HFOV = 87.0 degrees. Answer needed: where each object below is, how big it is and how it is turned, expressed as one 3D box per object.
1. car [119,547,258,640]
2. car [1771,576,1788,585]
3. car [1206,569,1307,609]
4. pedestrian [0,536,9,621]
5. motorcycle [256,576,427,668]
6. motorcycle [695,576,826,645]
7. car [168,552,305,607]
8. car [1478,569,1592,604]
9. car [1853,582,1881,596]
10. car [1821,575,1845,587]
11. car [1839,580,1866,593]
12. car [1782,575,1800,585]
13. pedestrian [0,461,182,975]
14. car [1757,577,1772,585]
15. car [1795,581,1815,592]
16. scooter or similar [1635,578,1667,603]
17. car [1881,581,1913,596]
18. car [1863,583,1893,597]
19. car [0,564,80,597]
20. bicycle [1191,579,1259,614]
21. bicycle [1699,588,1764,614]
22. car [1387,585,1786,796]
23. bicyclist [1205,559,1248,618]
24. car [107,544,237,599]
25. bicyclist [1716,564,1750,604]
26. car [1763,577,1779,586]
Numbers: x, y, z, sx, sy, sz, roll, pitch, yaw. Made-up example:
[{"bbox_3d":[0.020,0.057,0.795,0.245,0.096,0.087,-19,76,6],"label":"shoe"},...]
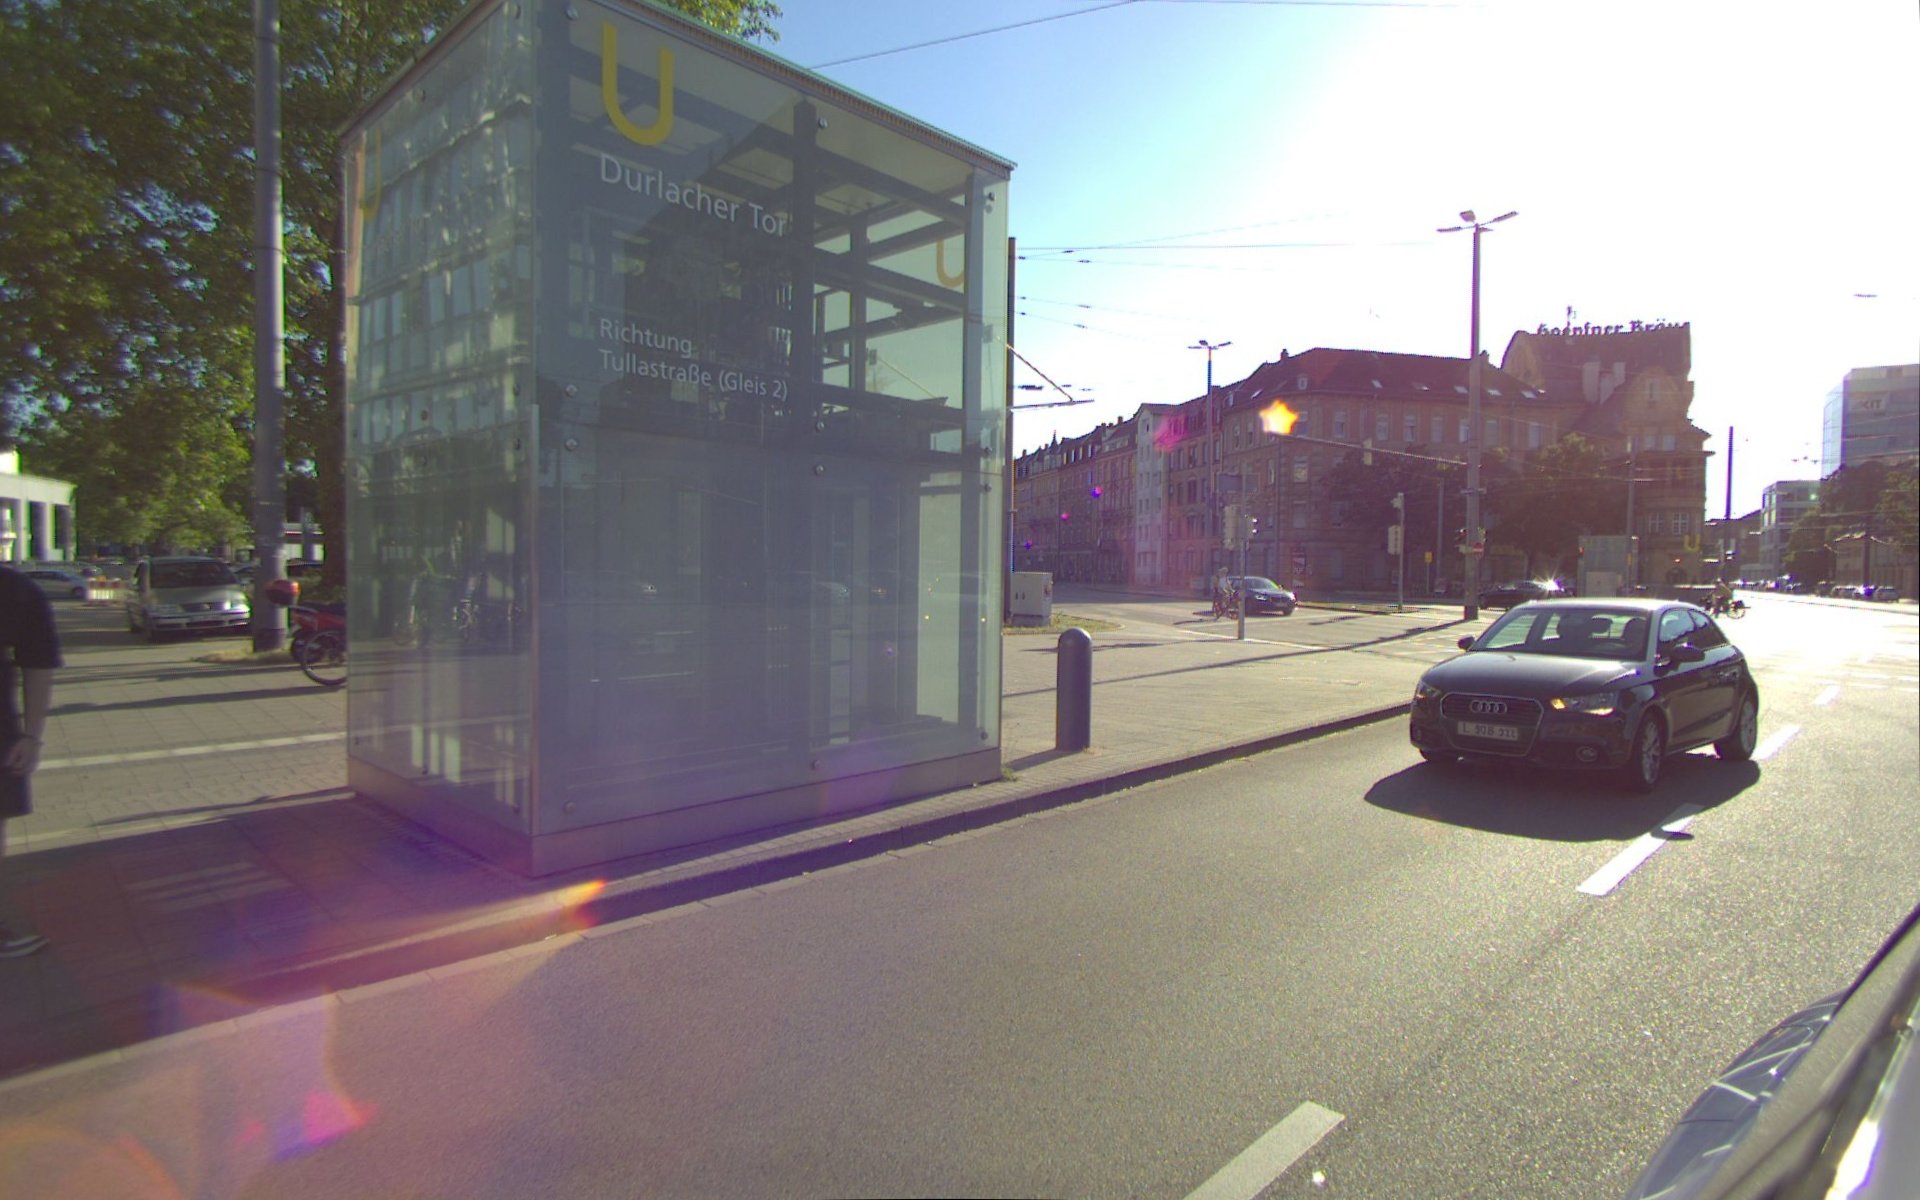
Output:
[{"bbox_3d":[-16.698,-0.236,21.825,1.891,1.718,3.991,-4,6,-44],"label":"car"},{"bbox_3d":[141.307,-3.321,174.463,1.743,1.482,3.972,1,0,32],"label":"car"},{"bbox_3d":[11.568,-0.462,39.779,1.958,1.471,4.010,0,2,-15],"label":"car"},{"bbox_3d":[-21.832,-0.495,22.654,0.740,1.889,0.831,-1,2,-41],"label":"pedestrian"},{"bbox_3d":[-8.238,0.253,13.540,0.878,1.059,1.776,4,5,43],"label":"motorcycle"},{"bbox_3d":[-3.483,0.140,17.913,1.032,1.087,2.258,4,3,30],"label":"motorcycle"},{"bbox_3d":[-27.651,-0.768,38.755,1.851,1.891,3.936,4,1,43],"label":"car"},{"bbox_3d":[27.039,-0.662,47.792,1.779,1.511,4.665,1,2,-18],"label":"car"},{"bbox_3d":[103.226,-1.259,115.181,1.743,1.482,3.972,1,0,32],"label":"car"},{"bbox_3d":[115.190,-2.478,133.586,1.743,1.482,3.972,1,0,32],"label":"car"},{"bbox_3d":[107.484,-1.670,121.888,1.743,1.482,3.972,1,0,32],"label":"car"},{"bbox_3d":[131.949,-3.227,160.759,1.743,1.482,3.972,1,0,32],"label":"car"},{"bbox_3d":[-3.590,0.389,3.719,0.783,1.749,0.866,1,2,14],"label":"pedestrian"},{"bbox_3d":[149.687,-3.526,188.412,1.743,1.482,3.972,1,0,32],"label":"car"},{"bbox_3d":[126.066,-2.022,151.046,1.743,1.626,3.972,1,0,32],"label":"car"},{"bbox_3d":[36.327,-0.504,53.202,0.718,1.215,1.443,2,2,6],"label":"scooter or similar"},{"bbox_3d":[97.993,-1.165,105.889,1.743,1.482,3.972,1,0,32],"label":"car"},{"bbox_3d":[100.554,-1.113,110.882,1.743,1.482,3.972,1,0,32],"label":"car"},{"bbox_3d":[-47.033,-0.995,50.815,3.918,1.437,1.860,3,1,-28],"label":"car"},{"bbox_3d":[9.514,-0.138,36.465,1.013,1.137,2.536,-2,3,-24],"label":"bicycle"},{"bbox_3d":[33.653,0.026,44.156,0.754,1.040,2.104,1,2,-39],"label":"bicycle"},{"bbox_3d":[5.447,0.586,8.648,3.762,1.405,1.695,-1,1,-38],"label":"car"},{"bbox_3d":[9.573,-0.438,36.333,1.013,2.038,1.147,-2,3,-24],"label":"bicyclist"},{"bbox_3d":[-32.304,-1.160,41.575,1.851,2.024,3.936,4,1,43],"label":"car"},{"bbox_3d":[33.688,-0.705,44.122,0.754,1.716,0.974,1,2,-39],"label":"bicyclist"},{"bbox_3d":[143.918,-3.253,179.510,1.743,1.482,3.972,1,0,32],"label":"car"}]
